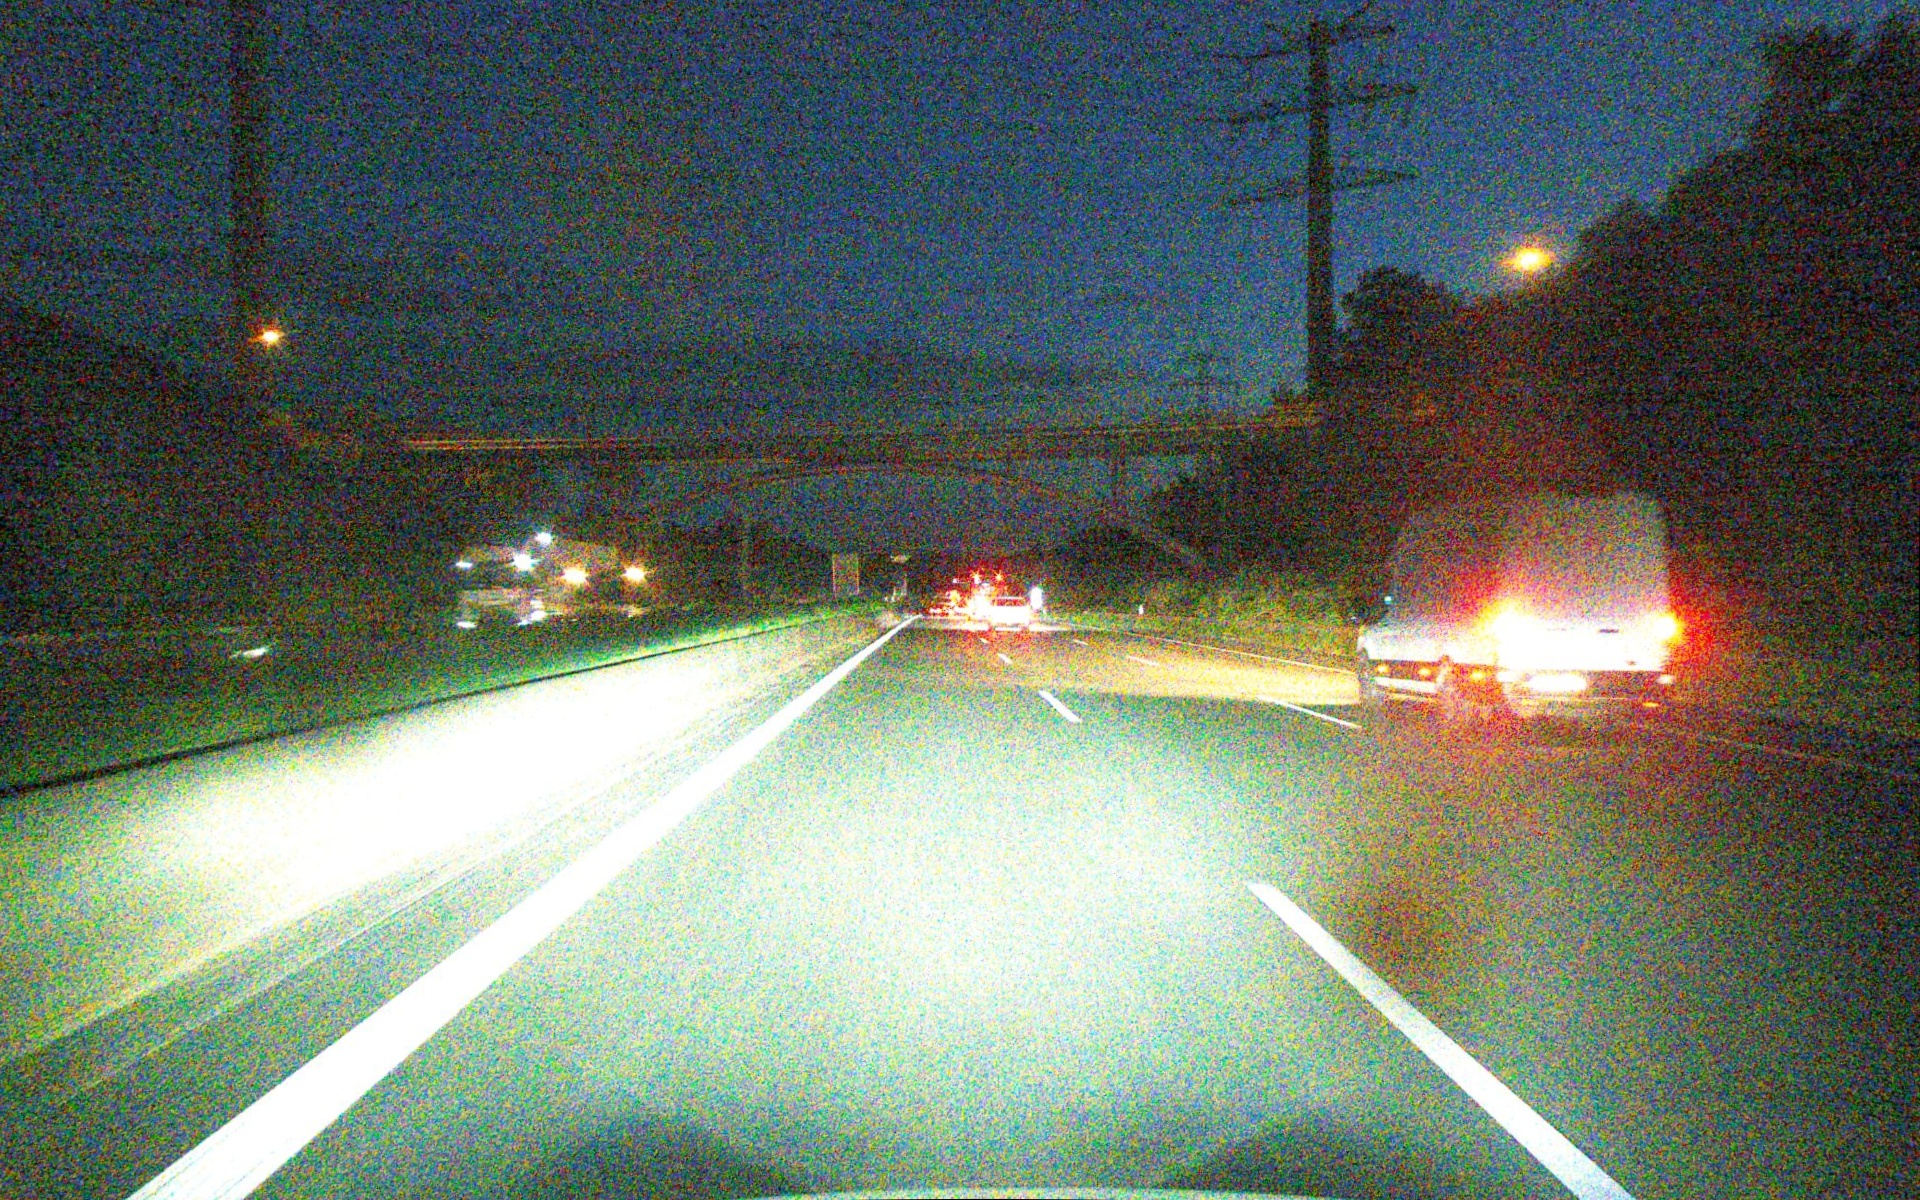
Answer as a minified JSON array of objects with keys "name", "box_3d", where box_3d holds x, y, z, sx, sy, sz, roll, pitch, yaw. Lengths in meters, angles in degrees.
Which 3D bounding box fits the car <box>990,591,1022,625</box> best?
[{"name":"car","box_3d":[2.085,0.366,75.866,1.318,1.411,3.502,1,1,0]}]

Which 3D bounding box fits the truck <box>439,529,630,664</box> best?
[{"name":"truck","box_3d":[-16.378,-0.347,65.671,3.181,4.566,17.438,1,1,-1]}]

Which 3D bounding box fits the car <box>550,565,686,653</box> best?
[{"name":"car","box_3d":[-8.852,0.151,43.523,2.163,2.048,6.944,1,1,-1]}]

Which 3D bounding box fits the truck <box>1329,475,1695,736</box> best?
[{"name":"truck","box_3d":[6.719,0.112,21.305,2.035,2.738,7.304,1,-1,-2]}]

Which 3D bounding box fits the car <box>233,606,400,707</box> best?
[{"name":"car","box_3d":[-13.351,1.117,34.627,1.861,1.791,4.499,1,1,-2]}]

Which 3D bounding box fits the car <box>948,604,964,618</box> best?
[{"name":"car","box_3d":[-0.442,1.241,189.781,1.783,1.491,4.248,1,1,0]}]

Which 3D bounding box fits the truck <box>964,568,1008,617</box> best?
[{"name":"truck","box_3d":[1.882,-0.654,123.451,2.982,3.382,10.142,1,1,0]}]
